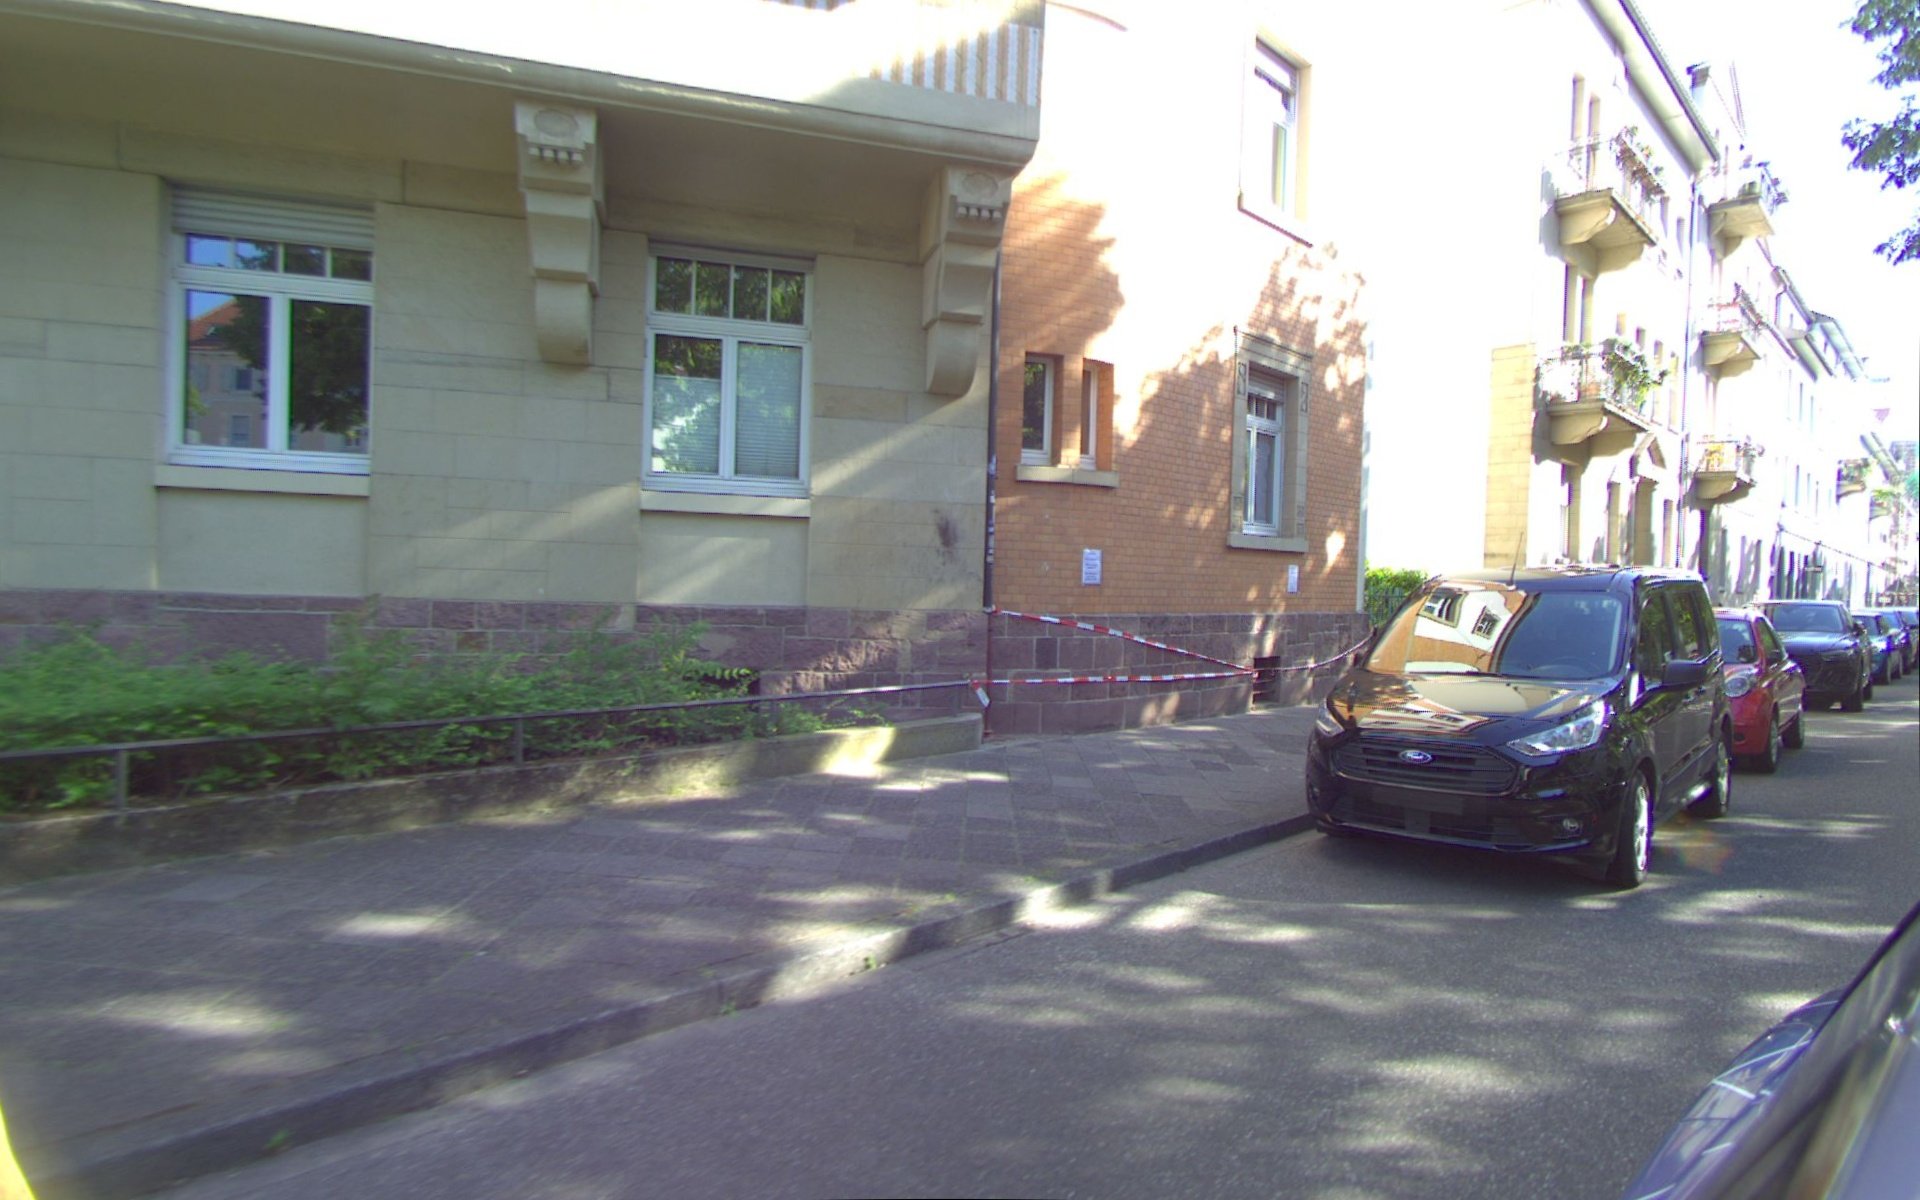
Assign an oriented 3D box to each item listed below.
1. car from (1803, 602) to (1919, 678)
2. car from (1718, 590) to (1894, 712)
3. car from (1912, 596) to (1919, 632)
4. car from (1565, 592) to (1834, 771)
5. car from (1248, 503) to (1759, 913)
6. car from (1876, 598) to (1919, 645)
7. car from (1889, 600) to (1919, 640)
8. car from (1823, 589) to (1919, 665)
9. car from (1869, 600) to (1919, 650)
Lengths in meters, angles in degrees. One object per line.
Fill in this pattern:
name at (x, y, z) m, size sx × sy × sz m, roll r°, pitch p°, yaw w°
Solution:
car at (18.806, 0.757, 20.983) m, size 3.570 × 1.433 × 1.592 m, roll 0°, pitch 0°, yaw -43°
car at (13.548, 0.687, 16.104) m, size 1.864 × 1.664 × 4.420 m, roll 0°, pitch 0°, yaw 44°
car at (43.792, 0.646, 45.168) m, size 3.973 × 1.570 × 1.582 m, roll 0°, pitch 1°, yaw -43°
car at (7.964, 0.717, 10.766) m, size 3.934 × 1.557 × 1.646 m, roll 0°, pitch -1°, yaw -44°
car at (3.855, 0.514, 6.811) m, size 4.202 × 1.895 × 1.802 m, roll 0°, pitch -2°, yaw -44°
car at (32.996, 0.707, 34.961) m, size 4.115 × 1.571 × 1.768 m, roll 0°, pitch 0°, yaw -44°
car at (36.571, 0.741, 38.306) m, size 4.219 × 1.449 × 1.771 m, roll 0°, pitch 1°, yaw -44°
car at (21.950, 0.583, 24.062) m, size 1.806 × 1.583 × 4.250 m, roll 4°, pitch 2°, yaw 45°
car at (29.677, 0.737, 31.575) m, size 3.938 × 1.486 × 1.694 m, roll 0°, pitch 0°, yaw -44°
